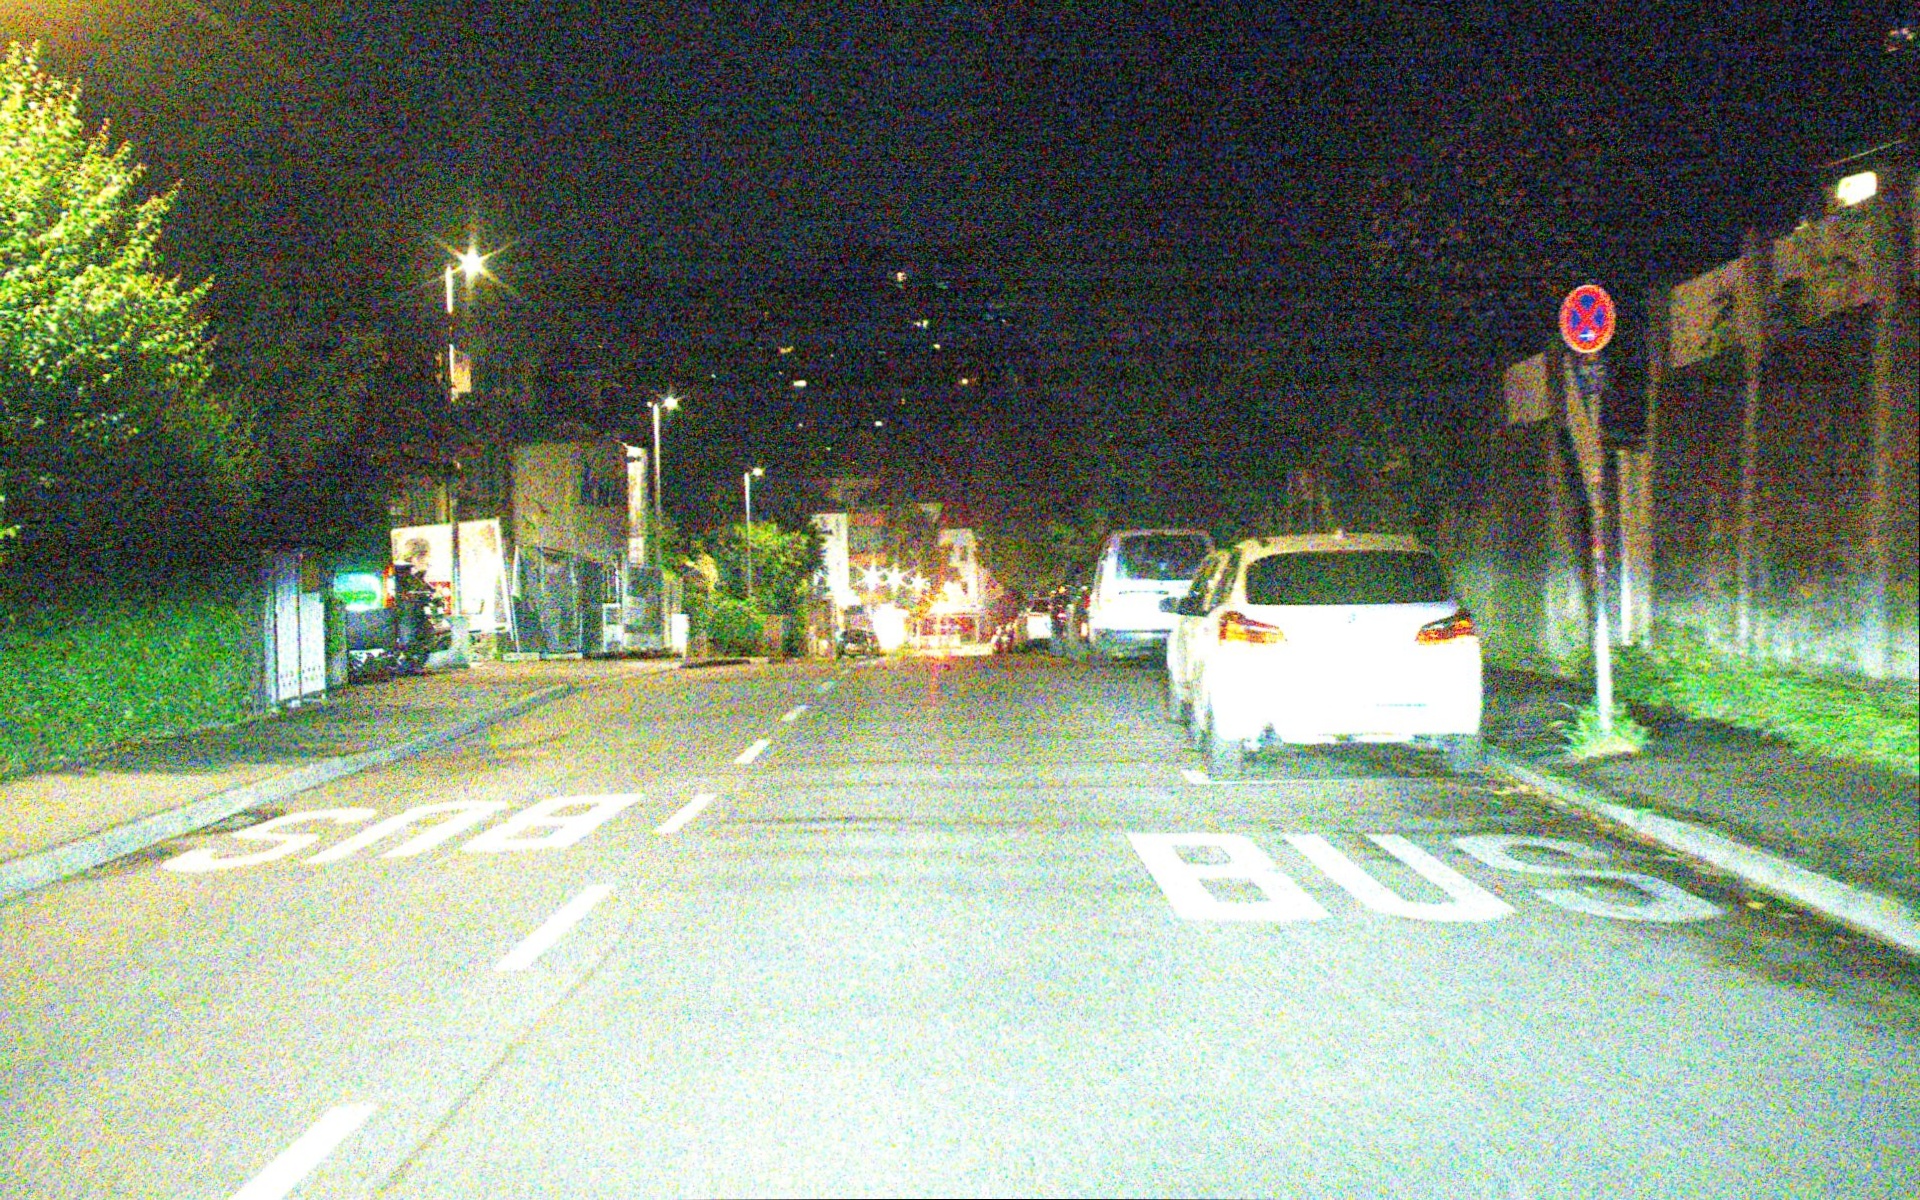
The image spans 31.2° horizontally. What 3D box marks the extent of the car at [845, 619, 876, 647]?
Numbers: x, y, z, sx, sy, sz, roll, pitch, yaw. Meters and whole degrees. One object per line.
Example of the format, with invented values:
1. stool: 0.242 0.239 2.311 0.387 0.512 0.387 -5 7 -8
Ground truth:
1. car: -5.588 1.853 193.287 1.753 1.534 3.731 0 -1 -1

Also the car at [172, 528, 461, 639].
1. car: -9.252 -0.254 49.630 3.811 1.550 1.927 0 1 0

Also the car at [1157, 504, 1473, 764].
1. car: 2.348 0.173 23.792 1.755 1.588 4.728 1 1 1

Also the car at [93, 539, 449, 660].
1. car: -9.327 0.007 46.800 4.417 1.608 2.065 0 -1 1

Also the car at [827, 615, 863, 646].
1. car: -5.911 1.570 176.169 1.753 1.534 3.731 0 -1 -3

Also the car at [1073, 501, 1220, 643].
1. car: 2.422 -0.369 45.573 1.718 1.755 4.758 1 0 1

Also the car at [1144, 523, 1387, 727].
1. car: 2.452 0.152 28.300 1.609 1.456 3.717 -2 2 0

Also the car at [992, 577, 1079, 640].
1. car: 1.866 0.230 86.261 1.763 1.471 4.276 2 -1 -4

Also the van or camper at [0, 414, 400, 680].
1. van or camper: -9.795 -0.673 43.048 5.397 3.100 2.133 -2 1 -9

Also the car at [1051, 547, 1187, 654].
1. car: 2.322 0.005 51.067 1.743 1.466 4.256 2 0 0

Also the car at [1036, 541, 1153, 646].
1. car: 2.208 -0.074 56.693 1.832 1.658 4.618 0 -1 2
